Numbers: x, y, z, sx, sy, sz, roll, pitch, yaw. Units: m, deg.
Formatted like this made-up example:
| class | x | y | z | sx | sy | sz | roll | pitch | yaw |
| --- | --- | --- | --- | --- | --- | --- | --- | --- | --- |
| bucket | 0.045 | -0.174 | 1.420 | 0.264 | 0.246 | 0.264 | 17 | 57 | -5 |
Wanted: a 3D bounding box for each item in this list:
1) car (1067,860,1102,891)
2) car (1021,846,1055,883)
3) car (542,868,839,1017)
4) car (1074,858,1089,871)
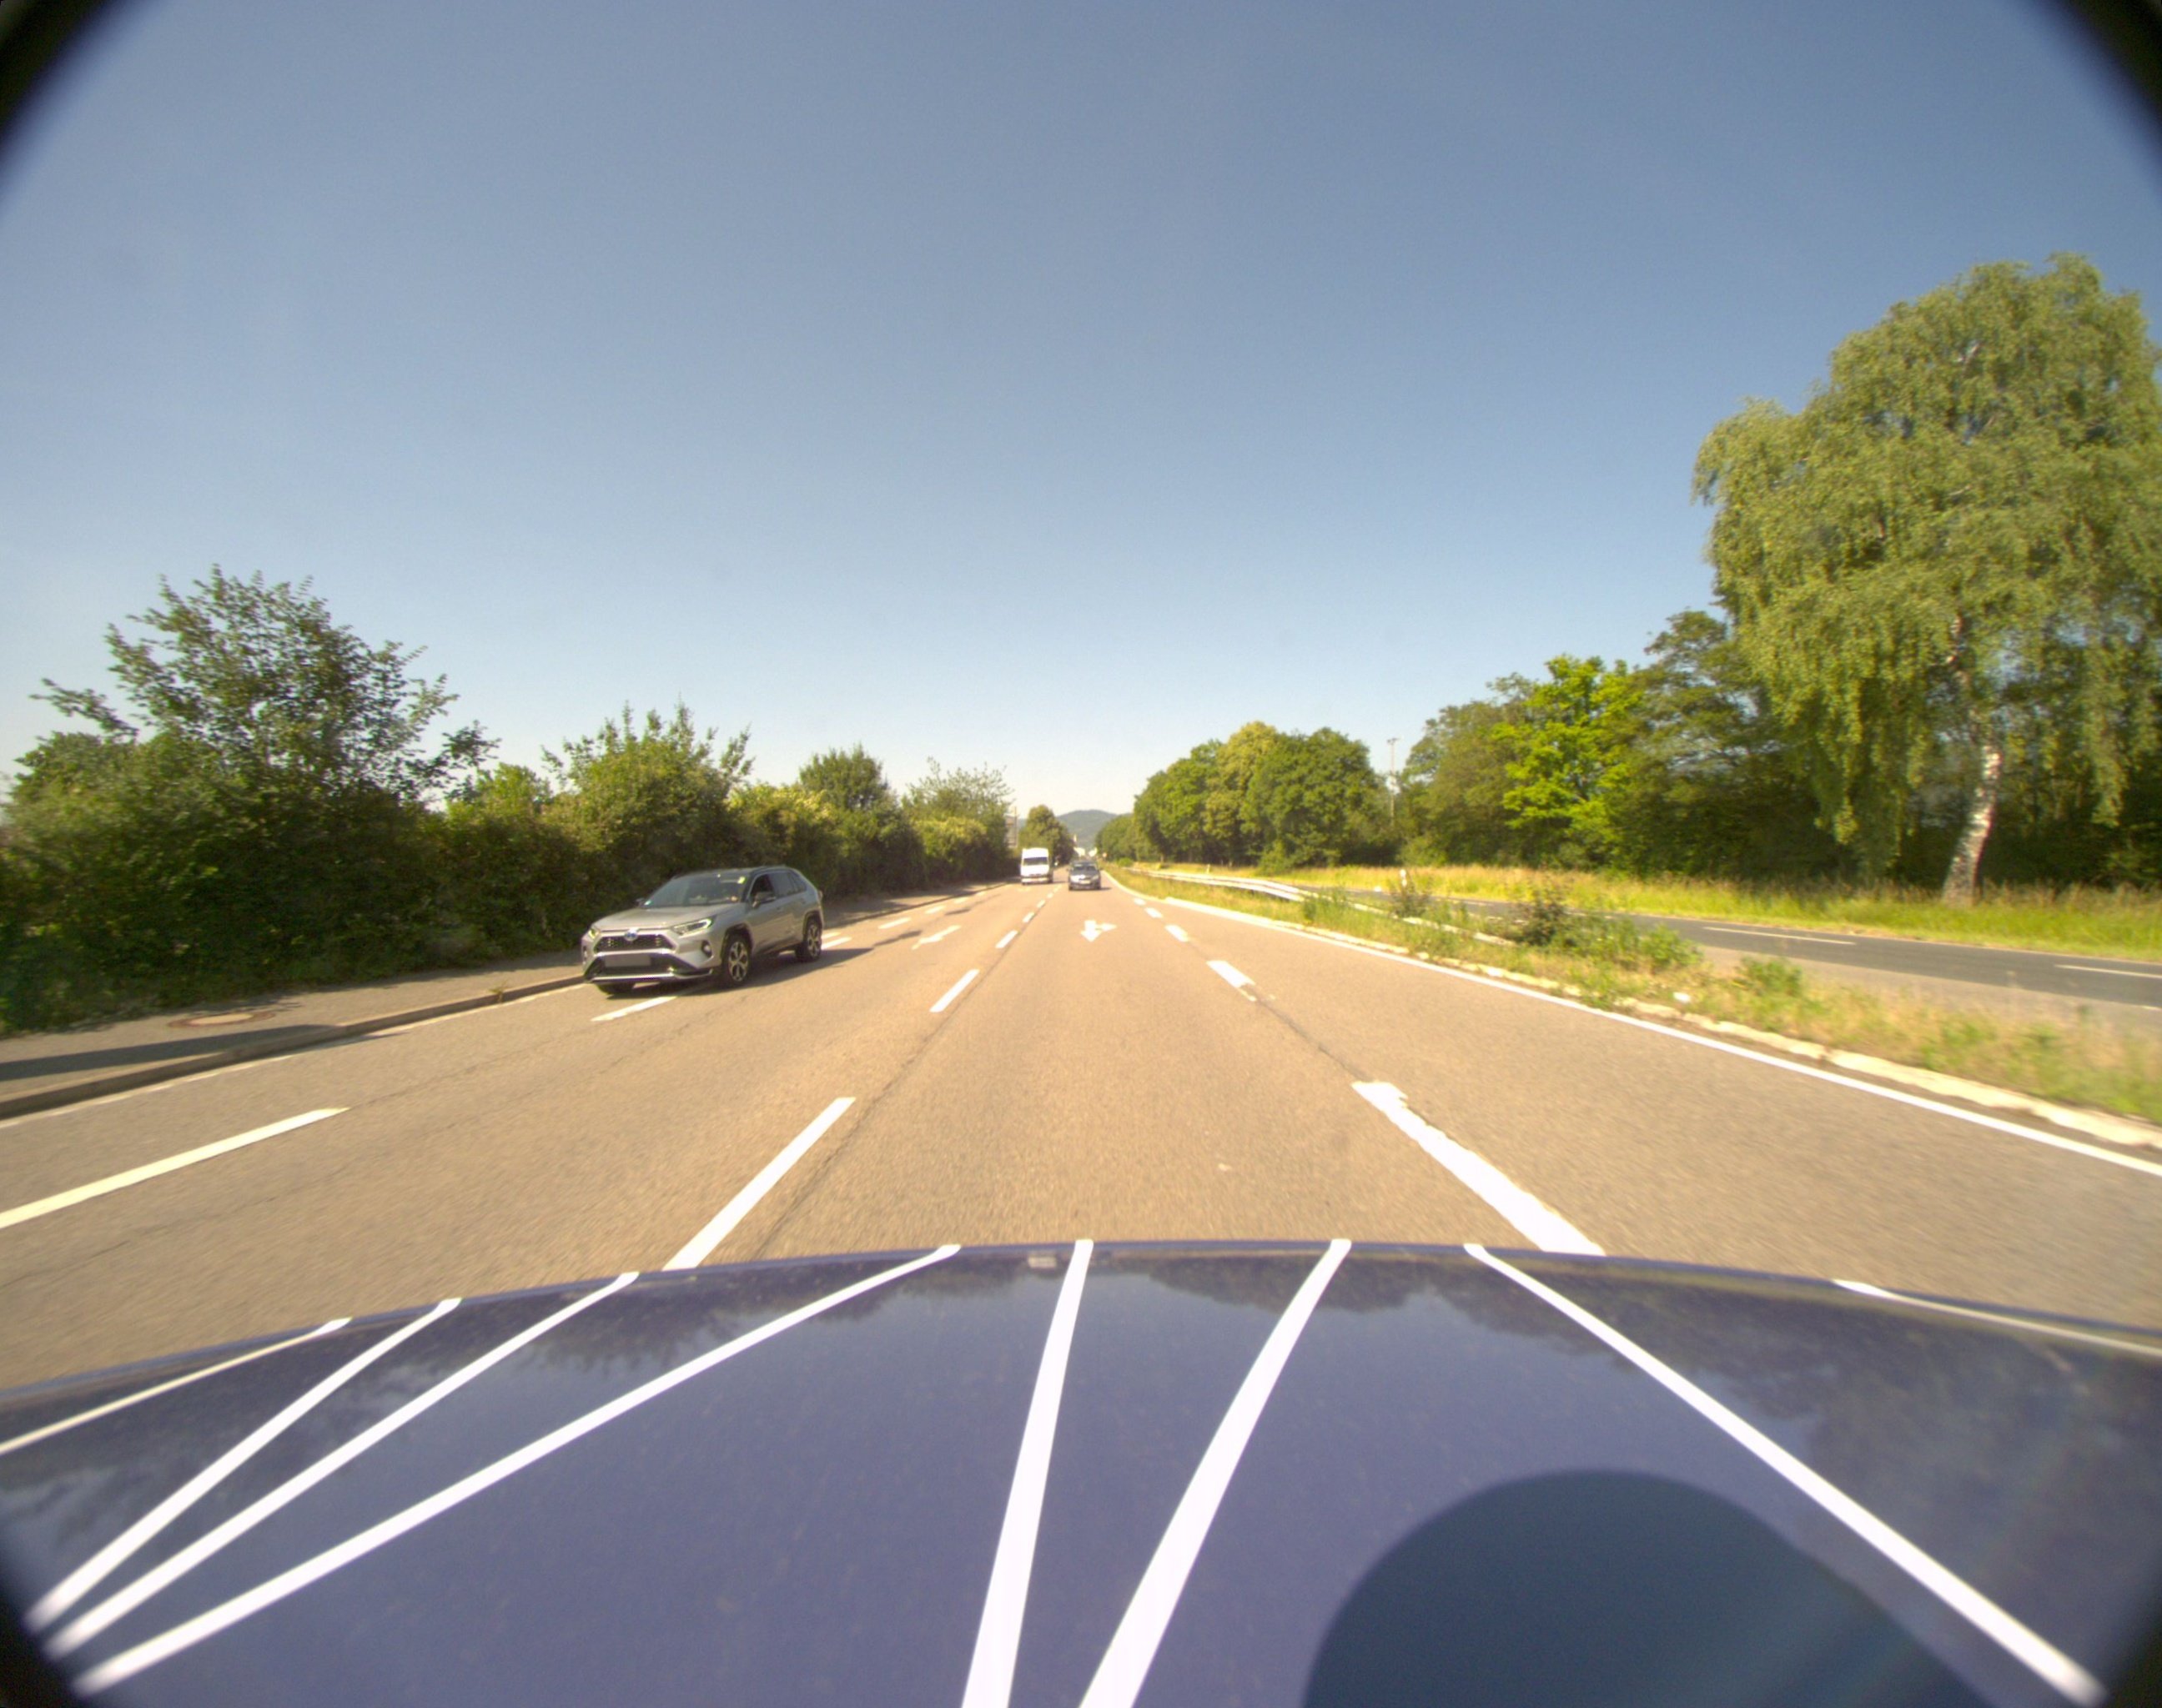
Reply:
| class | x | y | z | sx | sy | sz | roll | pitch | yaw |
| --- | --- | --- | --- | --- | --- | --- | --- | --- | --- |
| car | 0.172 | 1.065 | 39.189 | 1.678 | 1.435 | 4.361 | -1 | 0 | 0 |
| car | -2.973 | 0.696 | 53.372 | 1.998 | 2.432 | 5.088 | -1 | 0 | 0 |
| car | -5.541 | 1.132 | 11.659 | 1.906 | 1.670 | 4.684 | -3 | 0 | 2 |
| car | 0.064 | 1.189 | 88.561 | 1.678 | 1.435 | 3.622 | -1 | 0 | 0 |
